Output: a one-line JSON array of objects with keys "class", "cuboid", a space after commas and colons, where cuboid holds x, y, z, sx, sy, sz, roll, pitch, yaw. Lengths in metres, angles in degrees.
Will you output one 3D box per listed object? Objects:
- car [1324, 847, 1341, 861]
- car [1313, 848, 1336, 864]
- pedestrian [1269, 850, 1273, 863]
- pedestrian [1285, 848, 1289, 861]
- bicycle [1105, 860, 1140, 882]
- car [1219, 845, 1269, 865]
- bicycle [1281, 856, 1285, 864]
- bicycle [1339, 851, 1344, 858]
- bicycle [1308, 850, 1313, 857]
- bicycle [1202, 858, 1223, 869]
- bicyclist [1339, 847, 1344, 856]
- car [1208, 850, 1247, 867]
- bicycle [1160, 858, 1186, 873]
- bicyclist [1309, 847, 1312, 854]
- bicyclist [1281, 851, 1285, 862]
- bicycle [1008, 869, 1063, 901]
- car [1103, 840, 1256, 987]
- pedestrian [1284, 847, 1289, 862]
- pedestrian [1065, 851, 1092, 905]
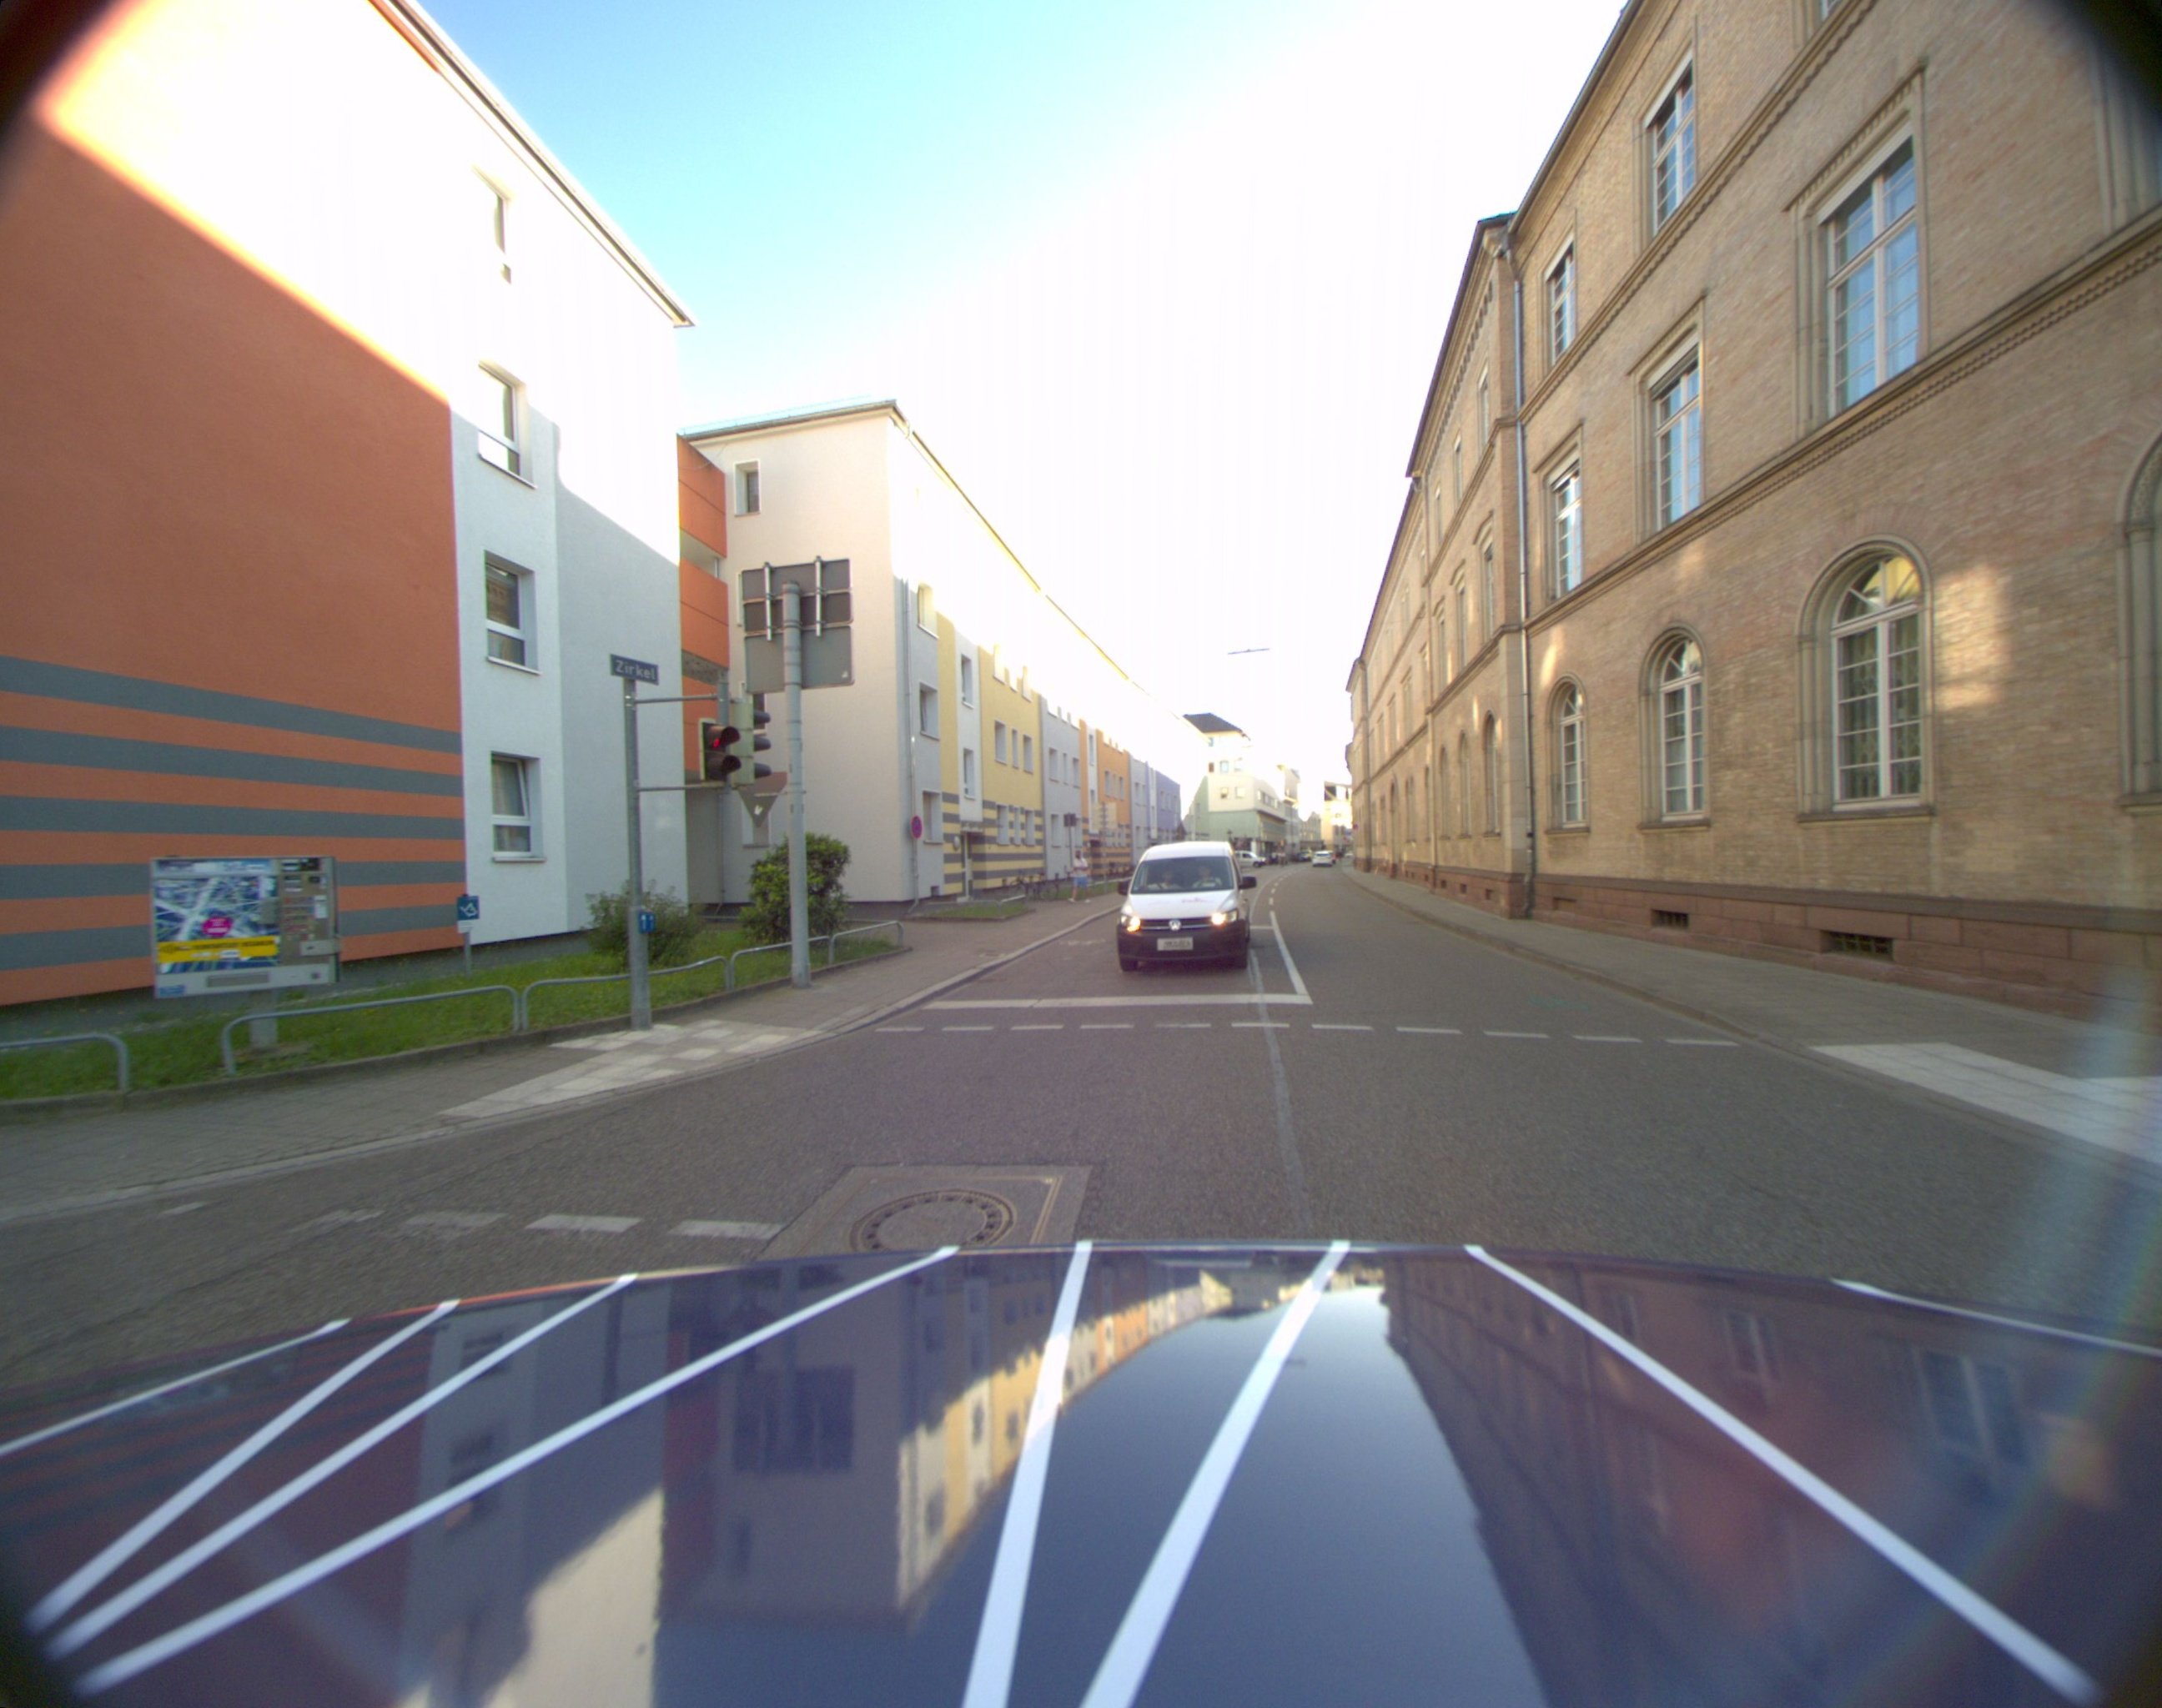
[{"class": "car", "cuboid": [29.294, 0.036, 88.391, 1.687, 1.573, 4.281, 1, 1, 21]}, {"class": "car", "cuboid": [23.936, 0.173, 74.621, 1.888, 1.467, 4.551, 1, 1, 21]}, {"class": "pedestrian", "cuboid": [22.340, 0.278, 89.187, 0.371, 1.546, 0.404, -1, 1, 20]}, {"class": "pedestrian", "cuboid": [24.976, 0.054, 92.107, 0.508, 1.551, 0.412, -1, 1, 18]}, {"class": "bicycle", "cuboid": [2.146, 0.864, 39.295, 1.774, 1.118, 0.584, 0, 1, 12]}, {"class": "car", "cuboid": [17.082, 0.135, 79.534, 4.758, 1.927, 2.003, -1, 0, 22]}, {"class": "bicycle", "cuboid": [20.071, 0.581, 75.470, 0.348, 0.719, 1.119, -1, 0, 19]}, {"class": "bicycle", "cuboid": [39.167, 0.050, 114.110, 0.608, 0.922, 2.267, -1, 0, 17]}, {"class": "bicycle", "cuboid": [36.632, -0.051, 121.257, 0.548, 1.076, 1.966, -1, 0, 19]}, {"class": "bicycle", "cuboid": [11.600, 0.801, 66.879, 1.773, 0.934, 0.584, 0, 1, 20]}, {"class": "bicyclist", "cuboid": [39.124, -0.379, 114.033, 0.604, 1.434, 0.579, -1, 1, 17]}, {"class": "car", "cuboid": [16.175, 0.483, 83.701, 3.992, 1.681, 1.903, -3, 1, 17]}, {"class": "bicycle", "cuboid": [6.474, 0.803, 53.457, 1.773, 0.990, 0.584, 0, 1, 20]}, {"class": "bicyclist", "cuboid": [36.614, -0.584, 121.242, 0.548, 1.204, 0.584, -1, 1, 19]}, {"class": "bicyclist", "cuboid": [20.062, 0.215, 75.471, 0.348, 1.101, 0.368, -1, 1, 19]}, {"class": "bicycle", "cuboid": [-1.516, 1.034, 25.418, 1.775, 1.043, 0.584, 0, 1, 8]}, {"class": "car", "cuboid": [1.820, 0.742, 12.216, 1.817, 1.825, 5.346, -1, 0, 14]}, {"class": "pedestrian", "cuboid": [24.121, 0.080, 89.158, 0.508, 1.752, 0.412, -1, 1, 18]}, {"class": "pedestrian", "cuboid": [-0.069, 0.753, 24.219, 0.643, 1.662, 0.835, 0, 1, 15]}]
